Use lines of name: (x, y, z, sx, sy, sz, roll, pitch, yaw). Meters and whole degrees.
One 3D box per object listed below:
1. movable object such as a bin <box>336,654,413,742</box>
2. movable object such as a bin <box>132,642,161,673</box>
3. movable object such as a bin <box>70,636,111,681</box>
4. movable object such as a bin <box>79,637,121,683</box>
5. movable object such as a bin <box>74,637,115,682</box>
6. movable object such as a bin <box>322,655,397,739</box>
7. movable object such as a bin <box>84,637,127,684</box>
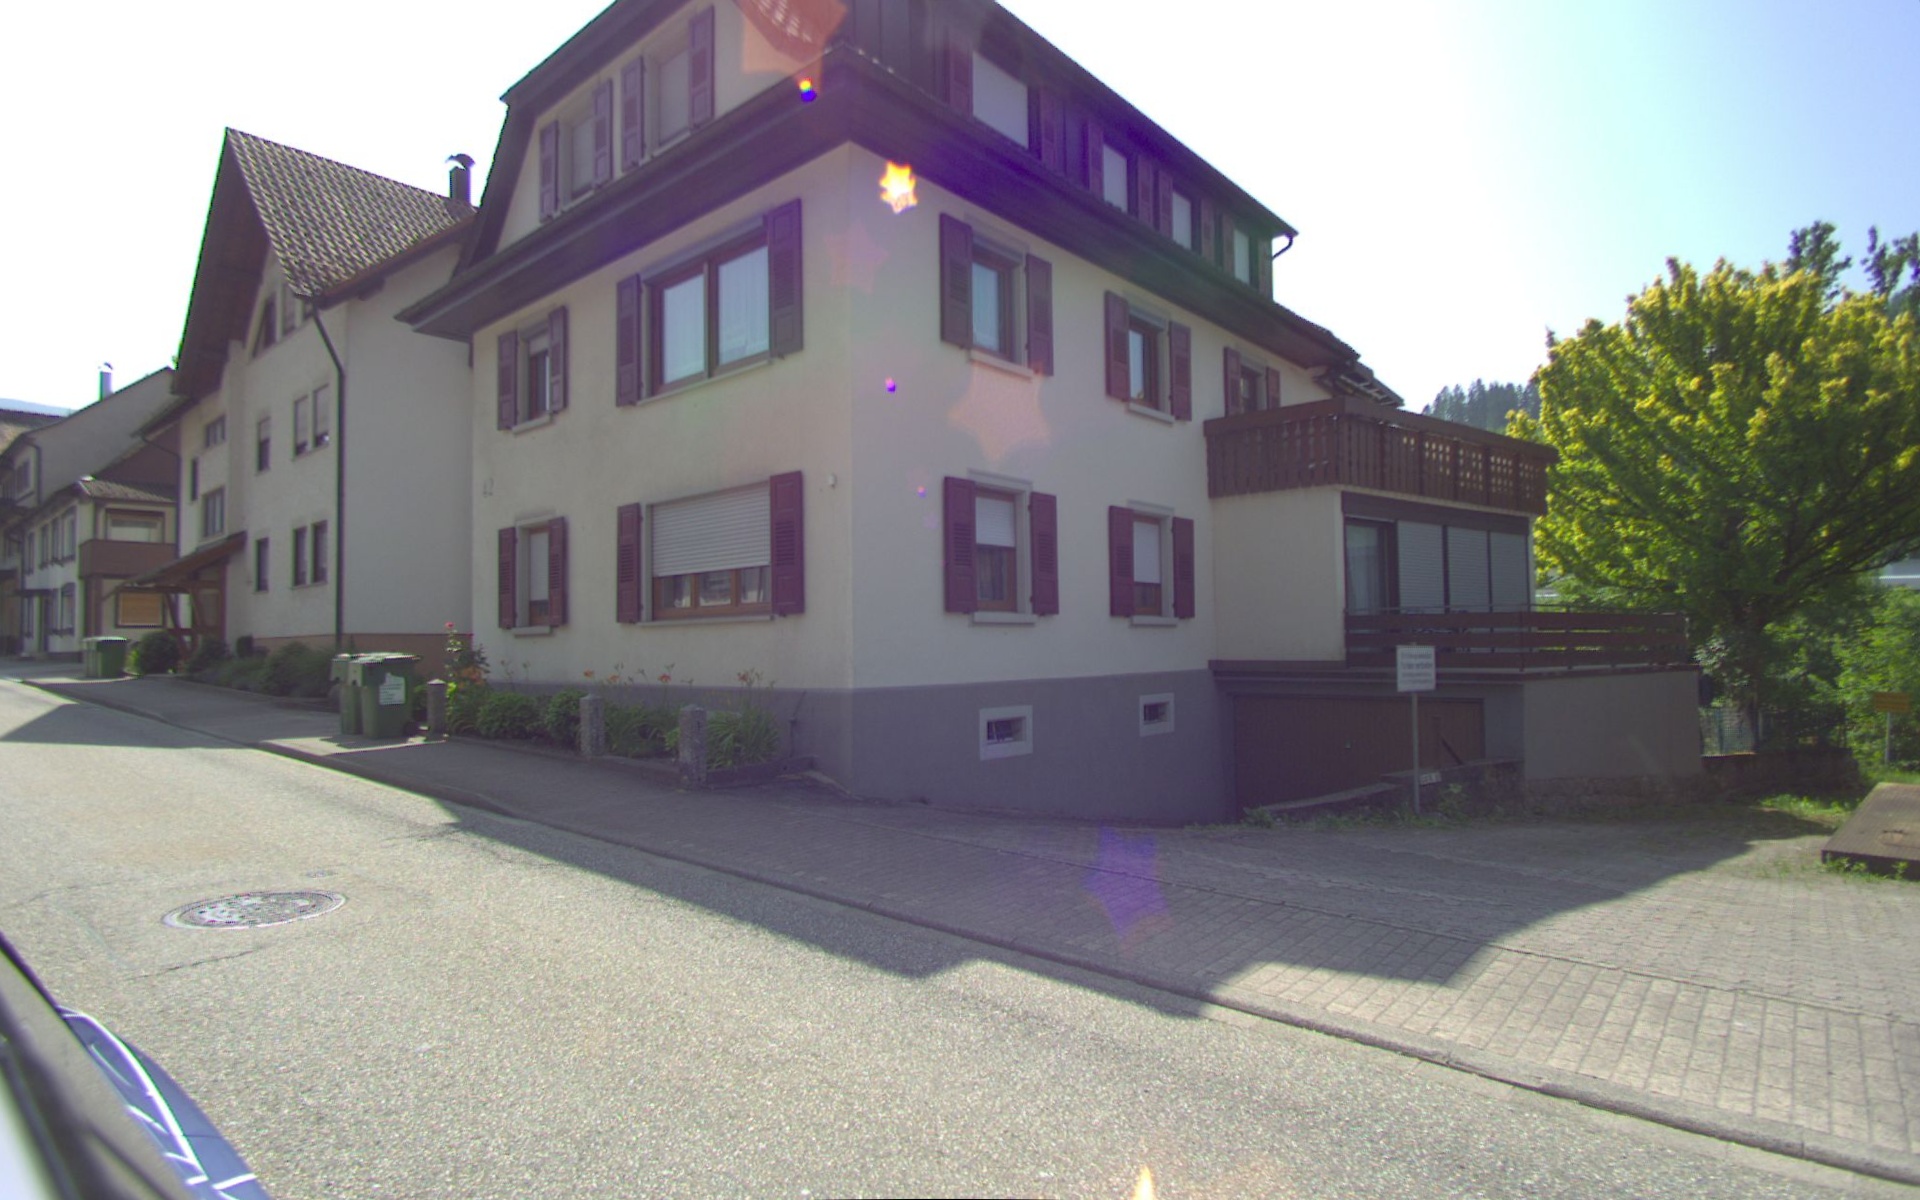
movable object such as a bin: (-7.553, 1.246, 13.064, 0.621, 1.075, 0.669, -1, -3, 39)
movable object such as a bin: (-28.414, 2.016, 35.343, 0.696, 1.059, 0.615, -1, -4, 40)
movable object such as a bin: (-23.726, 1.598, 27.617, 0.598, 1.190, 0.710, -2, -4, 41)
movable object such as a bin: (-22.734, 1.586, 26.761, 0.598, 1.190, 0.710, -2, -4, 41)
movable object such as a bin: (-23.236, 1.592, 27.176, 0.598, 1.190, 0.710, -2, -4, 41)
movable object such as a bin: (-8.081, 1.286, 13.622, 0.653, 1.075, 0.669, -1, -3, 39)
movable object such as a bin: (-22.237, 1.580, 26.331, 0.598, 1.190, 0.710, -2, -4, 41)
